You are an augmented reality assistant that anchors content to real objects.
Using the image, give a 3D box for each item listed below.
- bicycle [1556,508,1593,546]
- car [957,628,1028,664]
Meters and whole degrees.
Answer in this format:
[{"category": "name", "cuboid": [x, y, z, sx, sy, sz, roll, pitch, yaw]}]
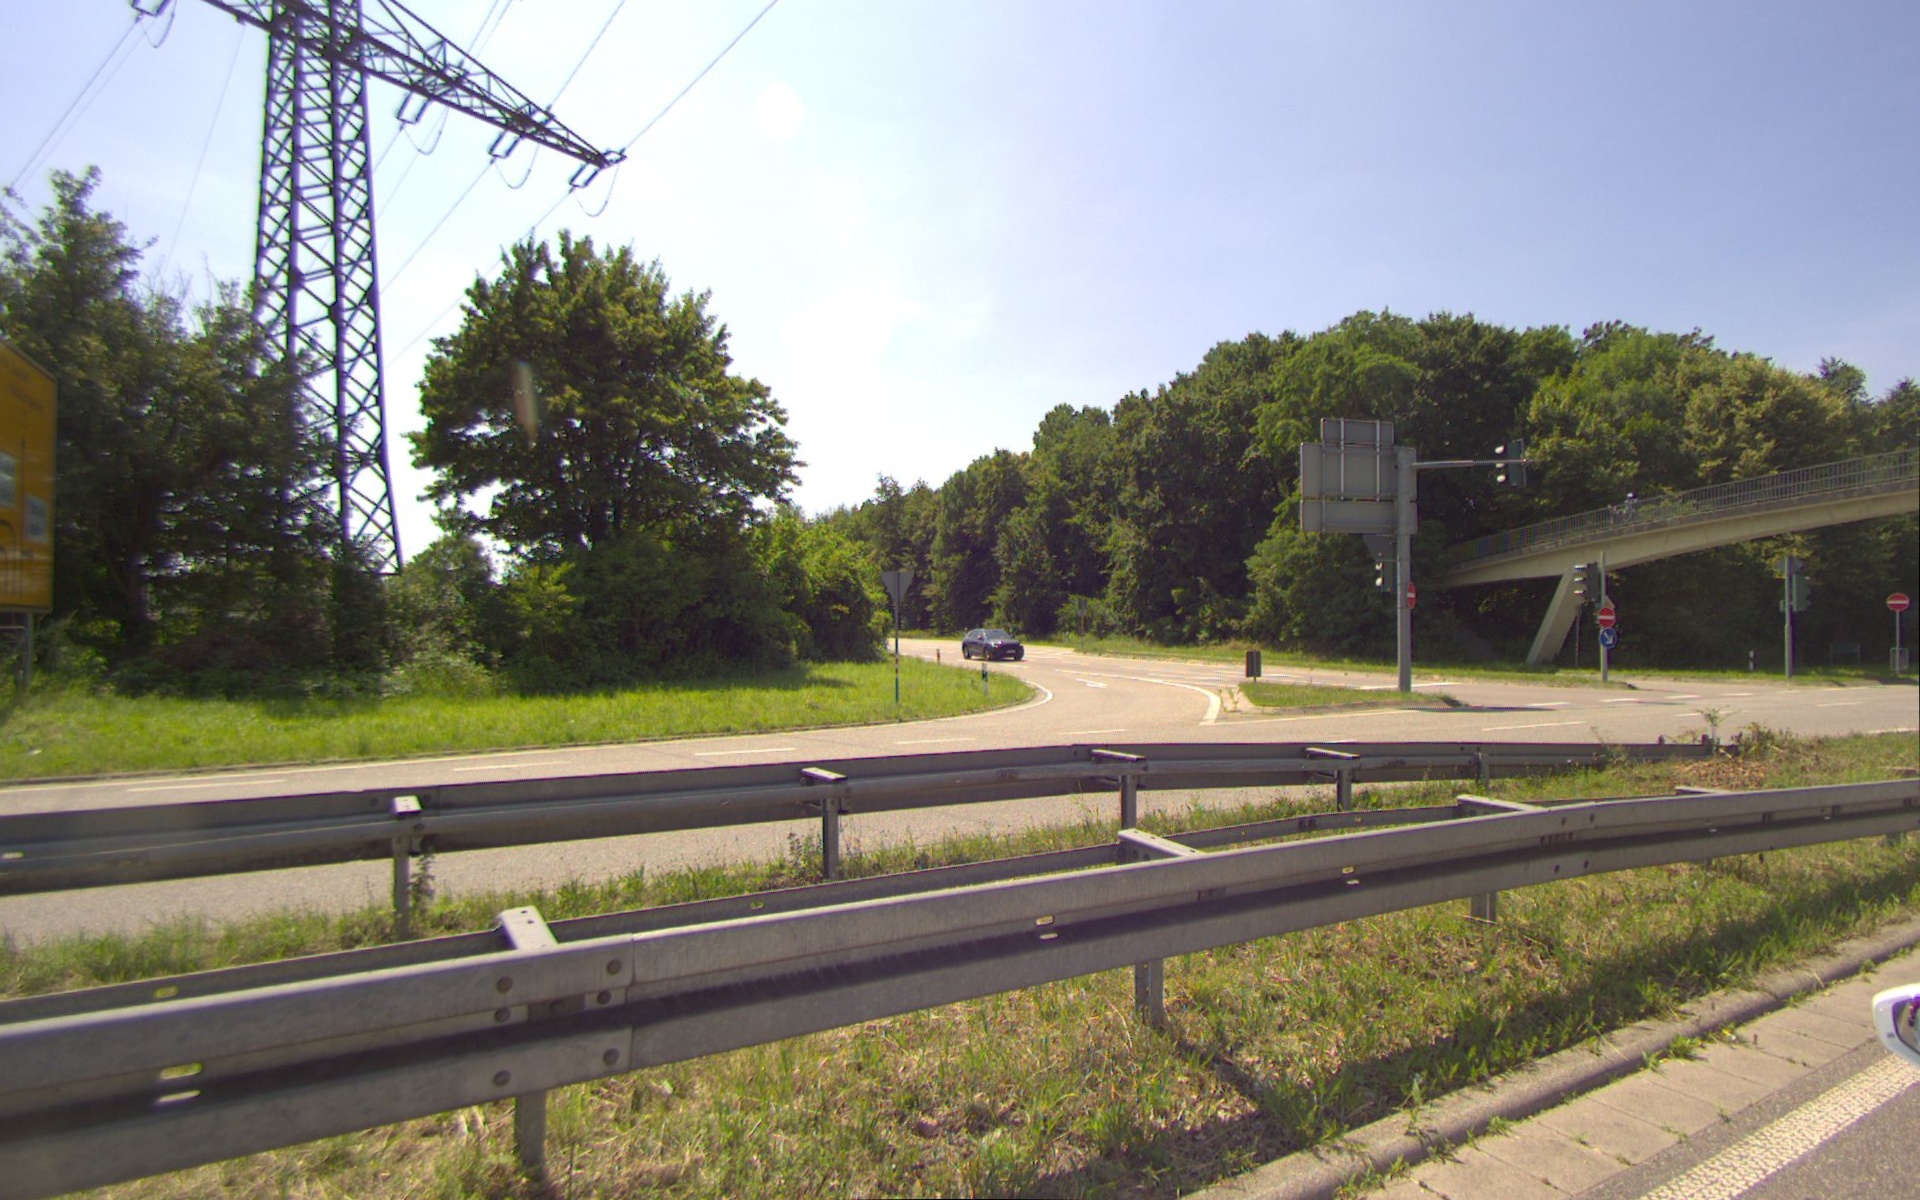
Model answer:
[{"category": "bicycle", "cuboid": [27.518, -3.250, 45.006, 0.462, 1.493, 1.528, 2, -3, -14]}, {"category": "car", "cuboid": [1.669, 2.432, 53.807, 2.018, 1.721, 5.063, -2, -1, -20]}]
